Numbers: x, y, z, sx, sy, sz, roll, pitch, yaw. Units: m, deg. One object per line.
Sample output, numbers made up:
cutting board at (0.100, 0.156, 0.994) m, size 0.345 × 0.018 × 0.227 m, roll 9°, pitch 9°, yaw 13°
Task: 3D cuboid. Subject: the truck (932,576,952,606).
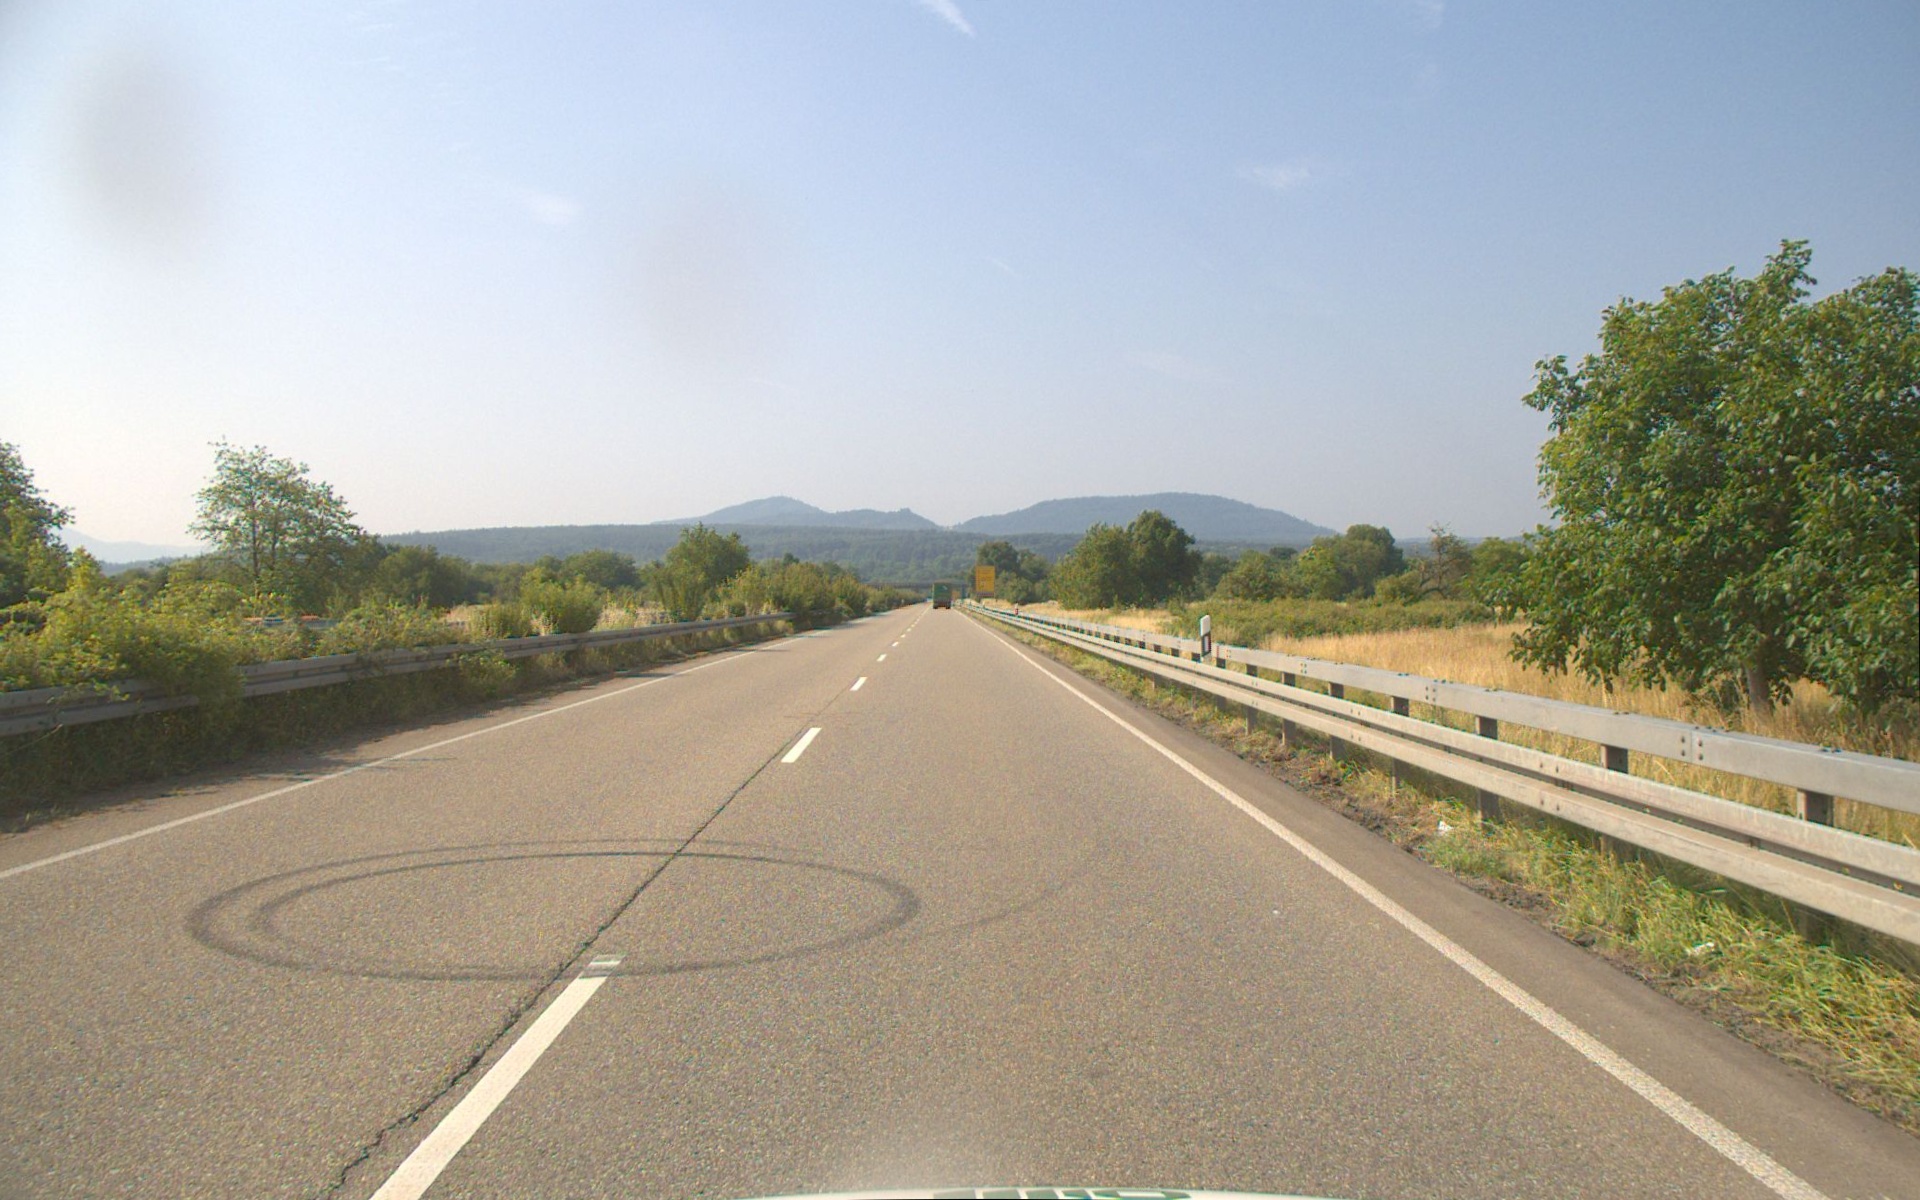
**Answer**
truck at (-2.589, -1.365, 234.035) m, size 2.667 × 4.034 × 10.415 m, roll 1°, pitch 1°, yaw 0°
